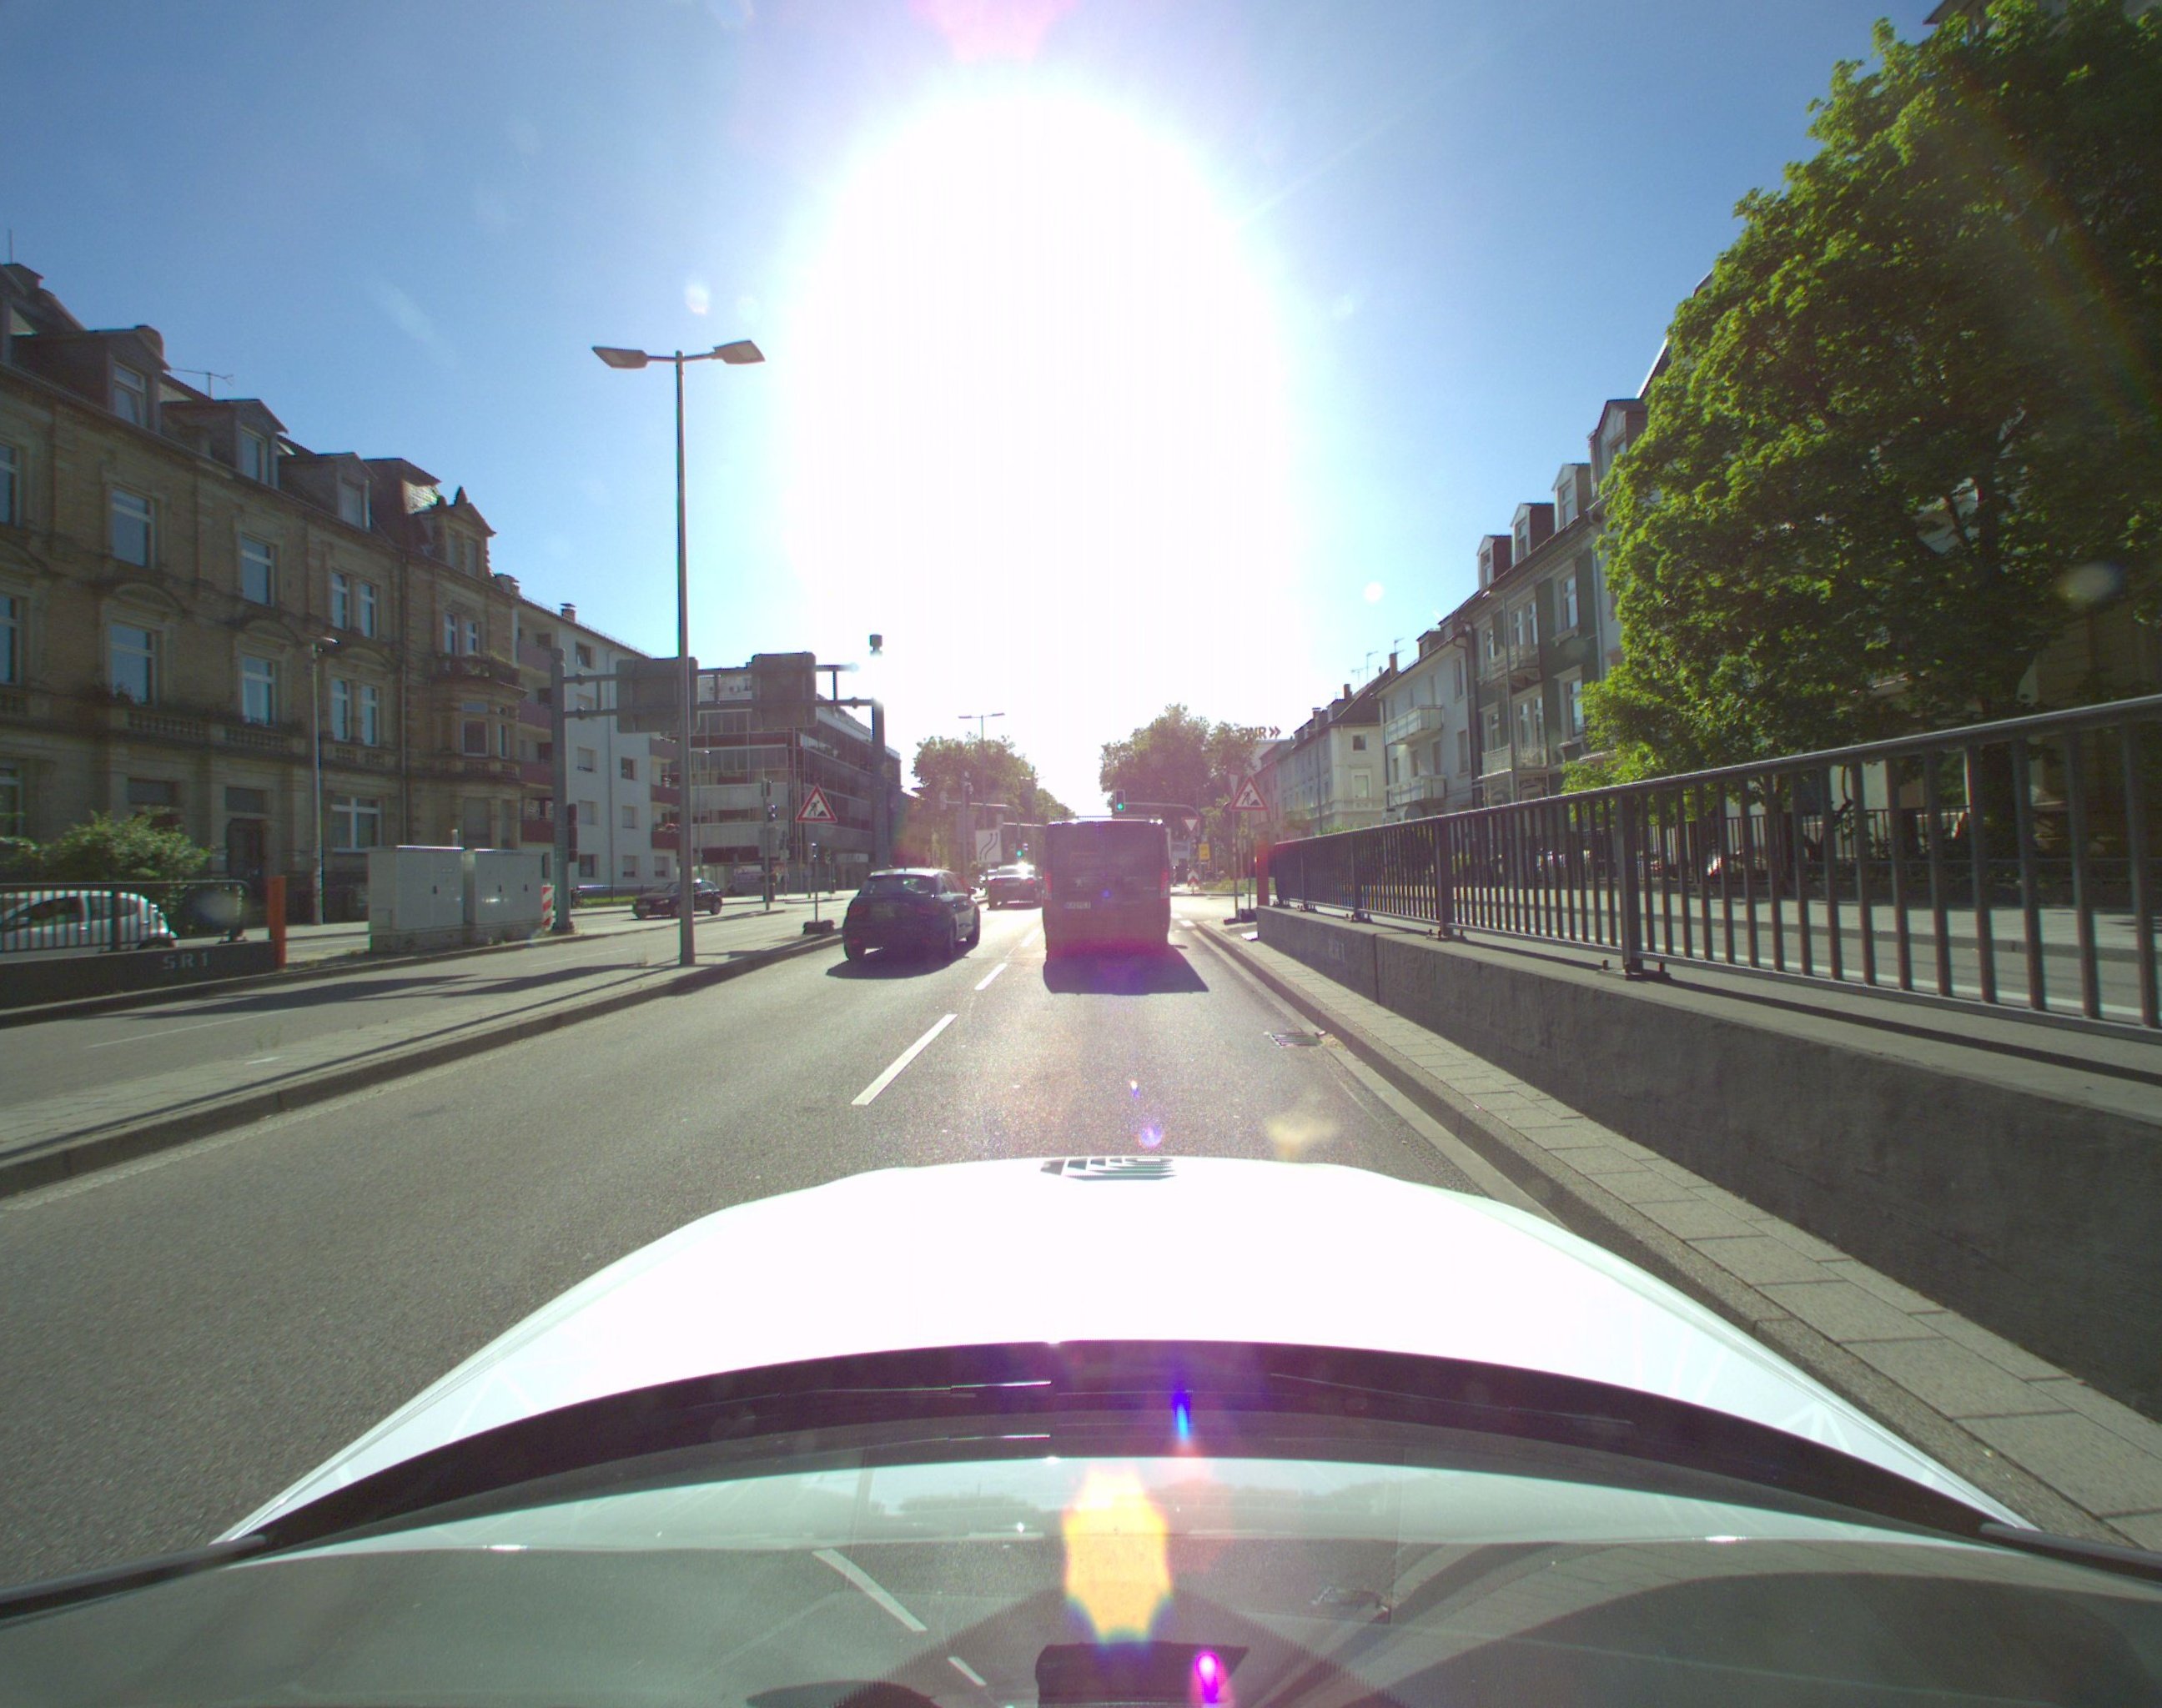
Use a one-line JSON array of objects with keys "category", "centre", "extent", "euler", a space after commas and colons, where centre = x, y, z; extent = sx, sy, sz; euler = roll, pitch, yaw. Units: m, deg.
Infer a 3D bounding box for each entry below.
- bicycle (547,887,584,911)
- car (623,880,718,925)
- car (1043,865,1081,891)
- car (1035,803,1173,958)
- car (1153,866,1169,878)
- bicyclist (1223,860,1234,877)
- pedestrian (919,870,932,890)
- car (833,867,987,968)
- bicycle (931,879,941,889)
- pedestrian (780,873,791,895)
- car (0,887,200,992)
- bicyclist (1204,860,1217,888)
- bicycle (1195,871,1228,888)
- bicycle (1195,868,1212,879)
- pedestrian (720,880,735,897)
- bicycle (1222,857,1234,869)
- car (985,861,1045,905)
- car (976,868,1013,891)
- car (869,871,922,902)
[{"category": "bicycle", "centre": [-22.475, 1.947, 35.547], "extent": [0.303, 0.958, 1.941], "euler": [-2, -1, 3]}, {"category": "car", "centre": [-15.927, 1.845, 31.807], "extent": [1.621, 1.438, 3.693], "euler": [-3, 0, 3]}, {"category": "car", "centre": [-1.100, 1.423, 49.163], "extent": [1.903, 1.444, 4.606], "euler": [0, 0, 3]}, {"category": "car", "centre": [0.416, 0.409, 14.563], "extent": [2.087, 2.355, 3.934], "euler": [-1, 0, 2]}, {"category": "car", "centre": [10.369, 2.394, 106.063], "extent": [1.756, 1.508, 4.253], "euler": [-2, -1, 2]}, {"category": "bicyclist", "centre": [13.913, 1.365, 76.835], "extent": [0.723, 1.499, 0.868], "euler": [-2, -1, -10]}, {"category": "pedestrian", "centre": [-14.076, 2.352, 73.818], "extent": [0.859, 1.711, 1.015], "euler": [-2, -1, 9]}, {"category": "car", "centre": [-2.776, 0.978, 14.104], "extent": [1.740, 1.407, 4.001], "euler": [-1, 0, 1]}, {"category": "bicycle", "centre": [-15.255, 3.148, 85.719], "extent": [0.624, 1.037, 1.881], "euler": [-2, -1, 4]}, {"category": "pedestrian", "centre": [-22.564, 2.261, 62.224], "extent": [0.702, 1.658, 0.739], "euler": [-1, -1, -28]}, {"category": "car", "centre": [-17.190, 1.380, 13.226], "extent": [1.622, 1.486, 3.691], "euler": [-2, 0, 2]}, {"category": "bicyclist", "centre": [7.934, 1.212, 49.934], "extent": [0.601, 1.708, 0.859], "euler": [-2, -1, 2]}, {"category": "bicycle", "centre": [7.995, 1.561, 49.871], "extent": [1.955, 1.025, 0.605], "euler": [0, -1, 1]}, {"category": "bicycle", "centre": [11.740, 1.823, 78.046], "extent": [0.581, 1.005, 2.145], "euler": [-3, -2, 37]}, {"category": "pedestrian", "centre": [-24.641, 2.402, 56.772], "extent": [0.717, 1.153, 0.786], "euler": [-1, -2, -10]}, {"category": "bicycle", "centre": [13.872, 0.858, 76.848], "extent": [0.687, 1.098, 1.683], "euler": [-2, -1, -6]}, {"category": "car", "centre": [-2.305, 0.993, 29.195], "extent": [1.740, 1.407, 4.001], "euler": [-1, 0, 1]}, {"category": "car", "centre": [-6.386, 1.863, 60.615], "extent": [1.985, 1.453, 4.622], "euler": [-1, 0, 4]}, {"category": "car", "centre": [-9.976, 1.716, 44.027], "extent": [1.601, 1.441, 4.313], "euler": [-5, -1, 2]}]
